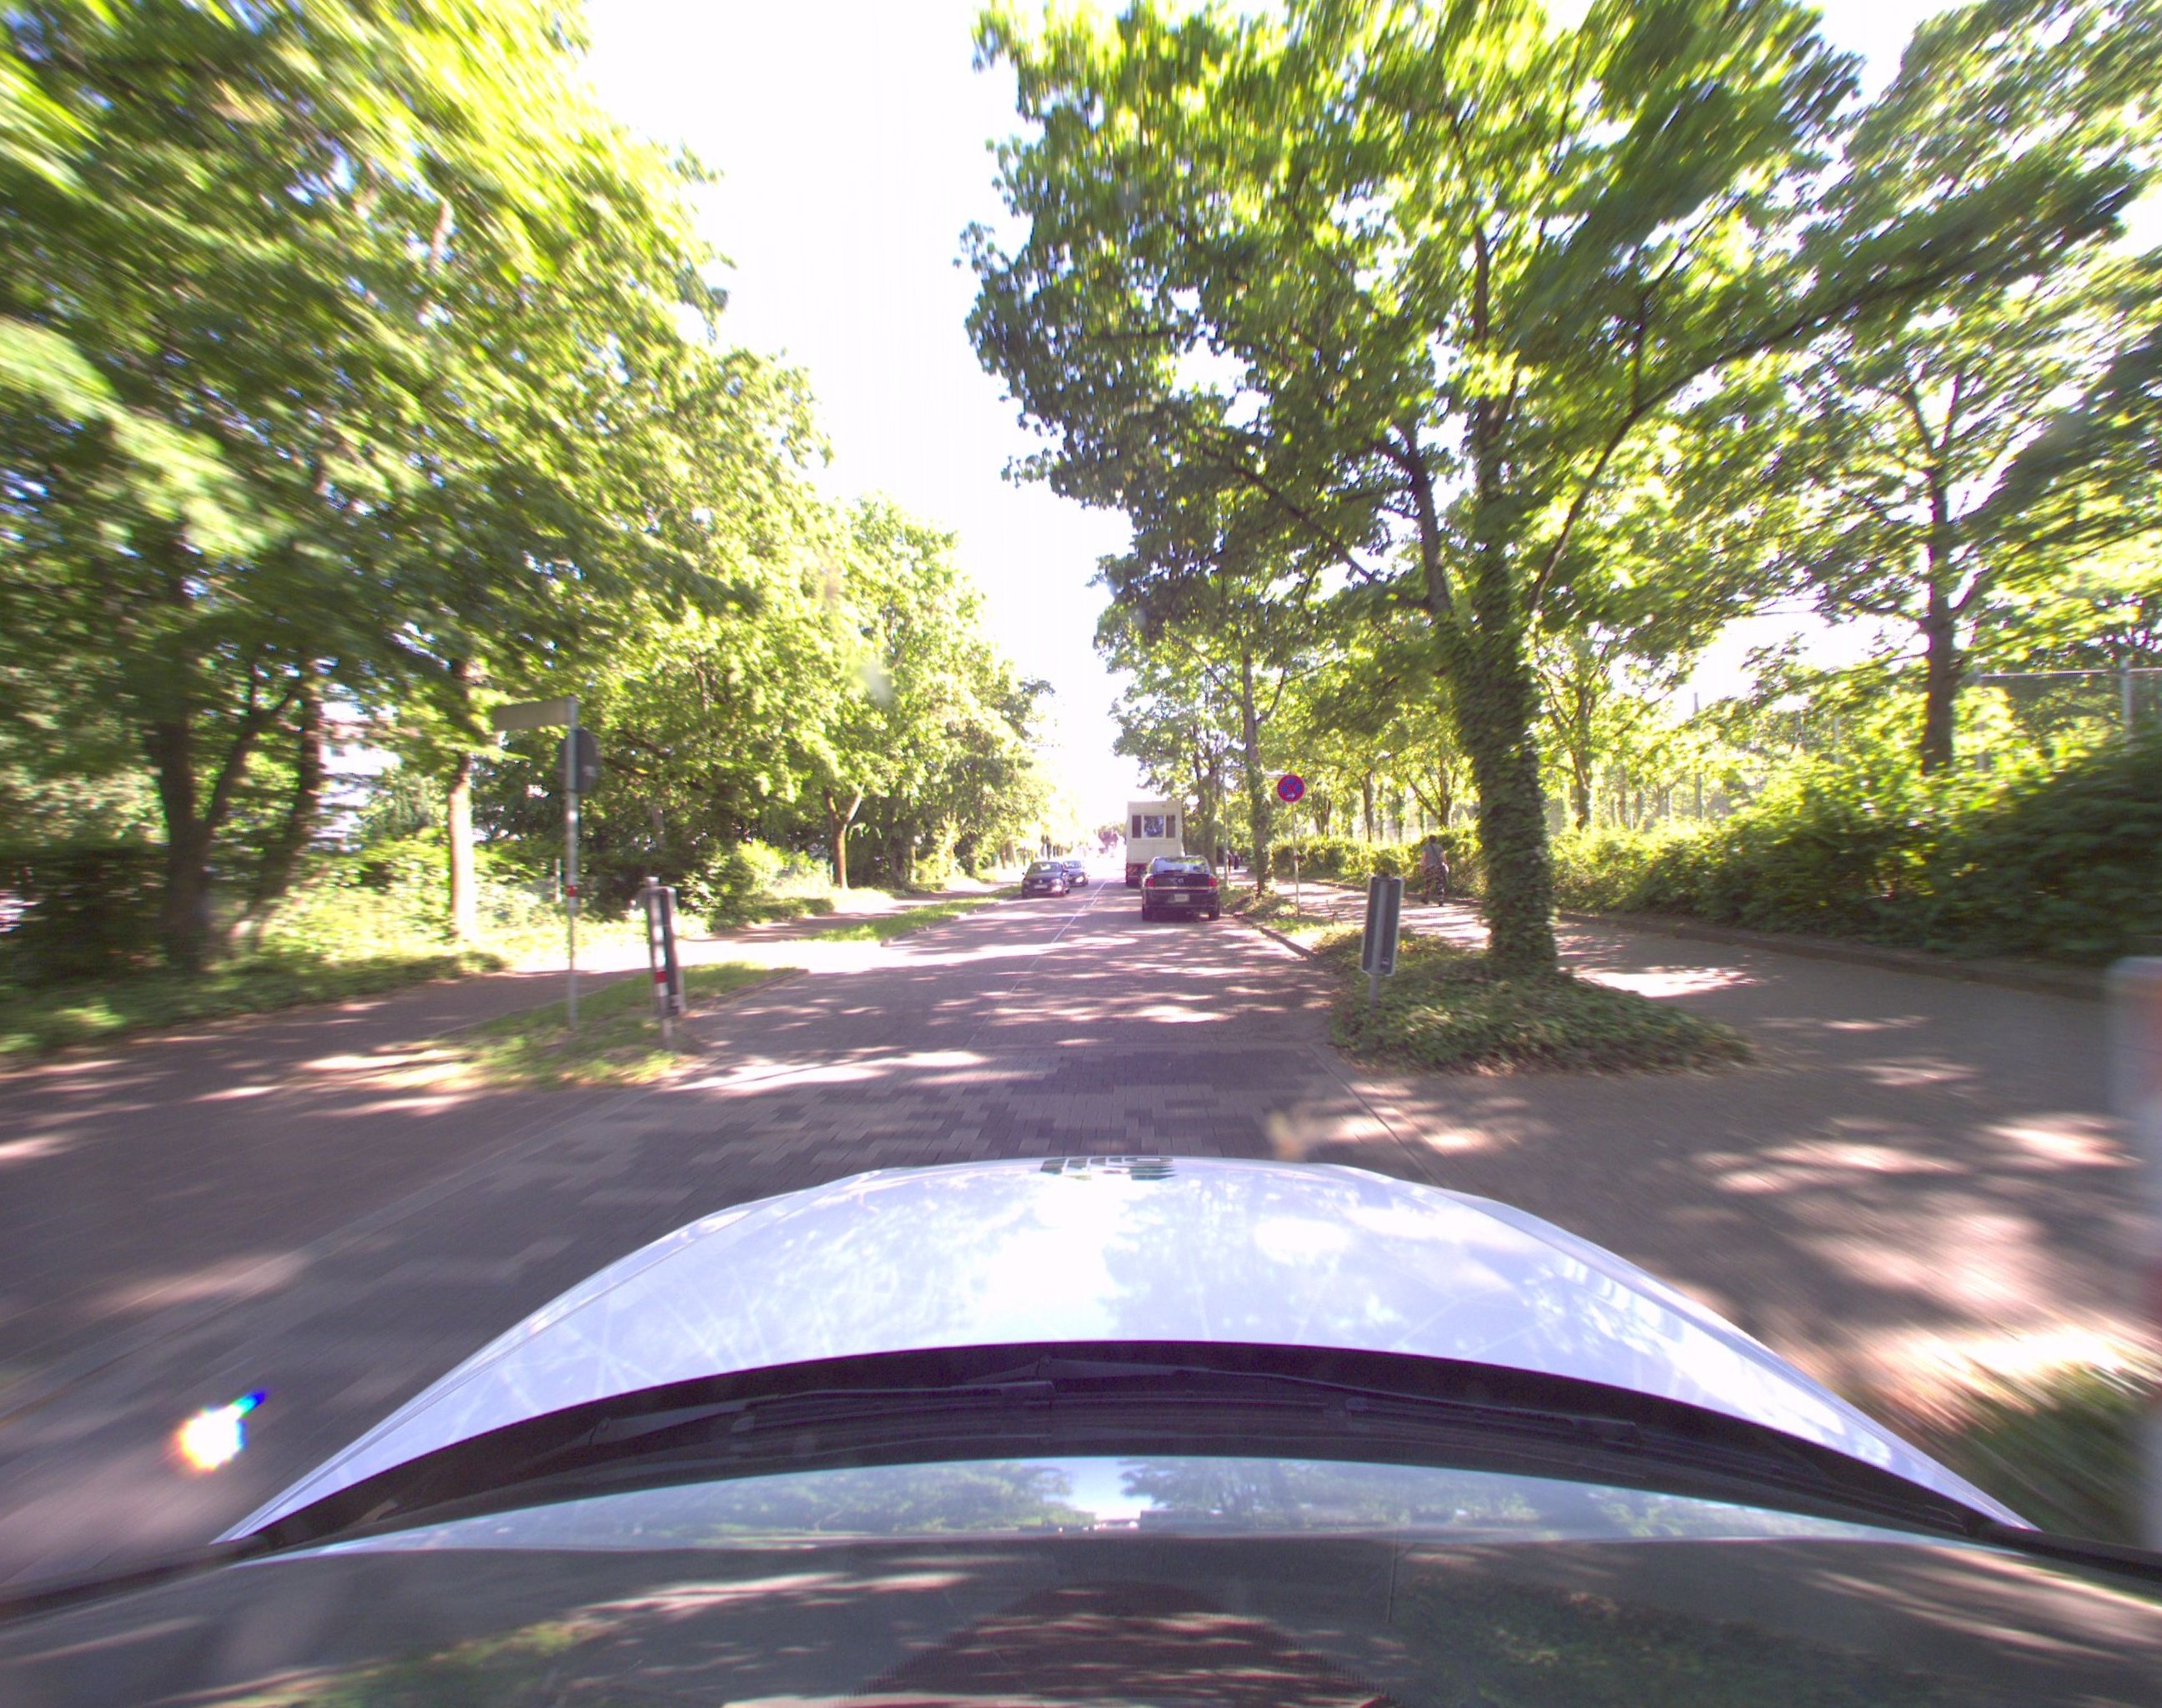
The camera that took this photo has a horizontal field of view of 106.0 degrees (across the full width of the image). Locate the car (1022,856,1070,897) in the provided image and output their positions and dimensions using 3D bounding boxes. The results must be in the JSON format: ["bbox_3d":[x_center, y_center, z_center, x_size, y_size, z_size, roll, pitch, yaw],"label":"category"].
[{"bbox_3d":[-1.339,0.854,32.510,1.595,1.426,3.653,-3,0,1],"label":"car"}]

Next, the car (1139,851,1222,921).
[{"bbox_3d":[2.293,0.703,19.410,1.740,1.480,4.036,-1,-1,5],"label":"car"}]

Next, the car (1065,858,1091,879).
[{"bbox_3d":[-0.220,1.106,63.525,1.780,1.416,4.106,-3,0,2],"label":"car"}]

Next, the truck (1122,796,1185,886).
[{"bbox_3d":[3.485,-0.575,41.583,2.762,3.996,10.355,0,0,3],"label":"truck"}]

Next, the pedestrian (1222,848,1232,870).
[{"bbox_3d":[10.981,0.376,61.185,0.596,1.611,0.600,-3,0,0],"label":"pedestrian"}]

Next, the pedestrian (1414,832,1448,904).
[{"bbox_3d":[7.937,0.317,18.477,0.567,1.608,0.673,-1,0,12],"label":"pedestrian"}]

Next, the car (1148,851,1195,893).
[{"bbox_3d":[3.470,0.644,31.505,1.632,1.420,4.006,-3,0,5],"label":"car"}]

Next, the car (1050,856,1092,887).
[{"bbox_3d":[-0.489,0.913,43.349,1.747,1.454,4.248,-3,0,4],"label":"car"}]

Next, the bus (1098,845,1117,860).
[{"bbox_3d":[6.450,-0.415,196.715,4.045,3.349,9.815,-3,0,5],"label":"bus"}]

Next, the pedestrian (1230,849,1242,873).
[{"bbox_3d":[11.653,0.534,61.194,0.695,1.812,0.700,-3,0,0],"label":"pedestrian"}]
